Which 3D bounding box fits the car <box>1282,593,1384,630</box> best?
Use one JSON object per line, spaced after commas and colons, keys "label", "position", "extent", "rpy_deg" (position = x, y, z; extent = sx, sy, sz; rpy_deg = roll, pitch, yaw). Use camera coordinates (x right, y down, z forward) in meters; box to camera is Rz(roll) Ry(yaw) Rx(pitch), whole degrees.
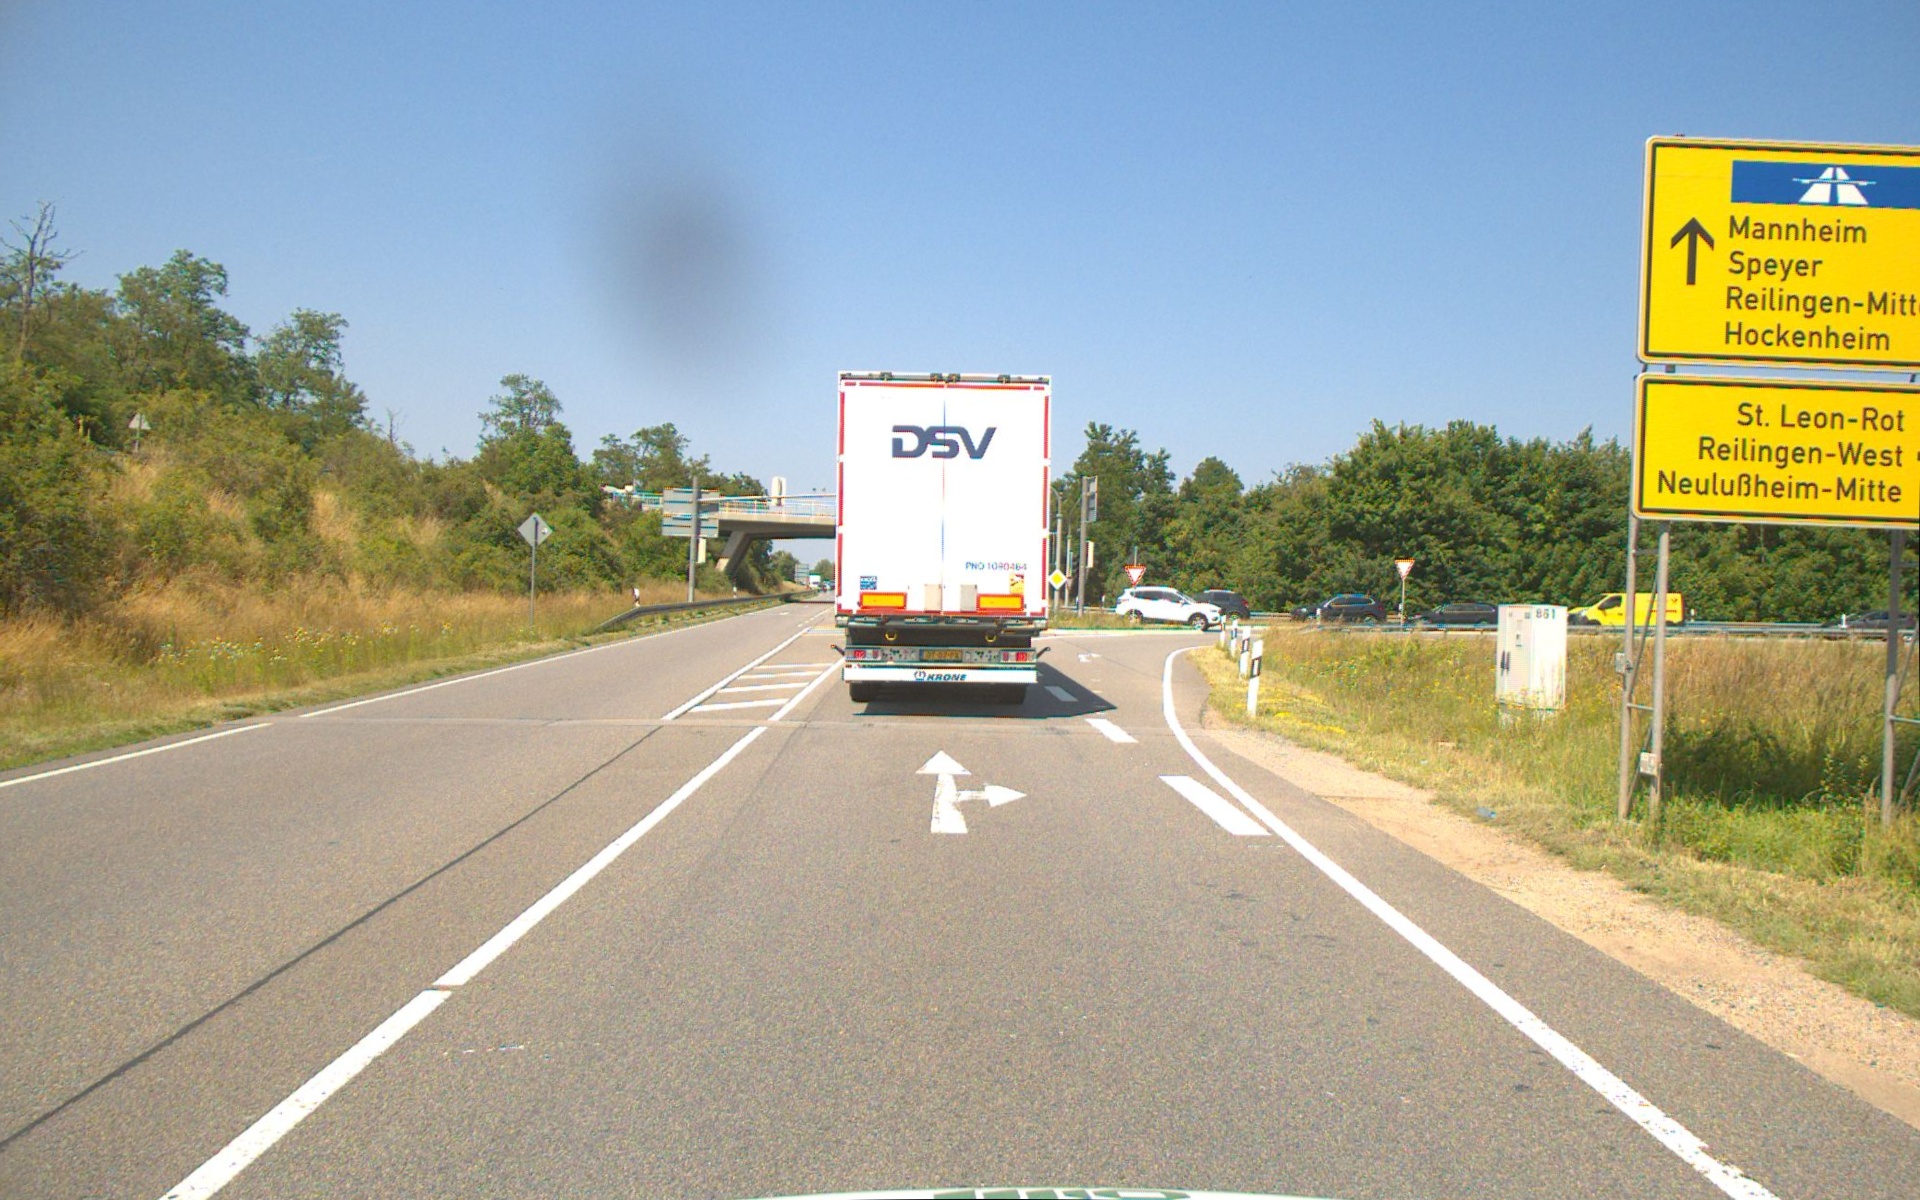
{"label": "car", "position": [17.322, 0.536, 76.955], "extent": [4.393, 1.626, 1.768], "rpy_deg": [1, 0, 2]}

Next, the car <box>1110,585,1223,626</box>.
{"label": "car", "position": [8.519, 0.240, 68.091], "extent": [4.374, 1.594, 1.740], "rpy_deg": [1, 0, 16]}

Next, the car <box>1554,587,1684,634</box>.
{"label": "car", "position": [30.536, 0.478, 76.732], "extent": [5.213, 2.049, 2.000], "rpy_deg": [1, 0, 0]}

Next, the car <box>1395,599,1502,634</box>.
{"label": "car", "position": [23.121, 0.780, 78.428], "extent": [4.583, 1.540, 1.854], "rpy_deg": [1, 0, 6]}

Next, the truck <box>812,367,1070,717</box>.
{"label": "truck", "position": [-0.327, -0.679, 24.087], "extent": [2.927, 4.011, 9.873], "rpy_deg": [1, 0, -1]}

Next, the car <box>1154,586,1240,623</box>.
{"label": "car", "position": [11.280, 0.216, 78.909], "extent": [3.901, 1.668, 1.842], "rpy_deg": [1, 0, 5]}
